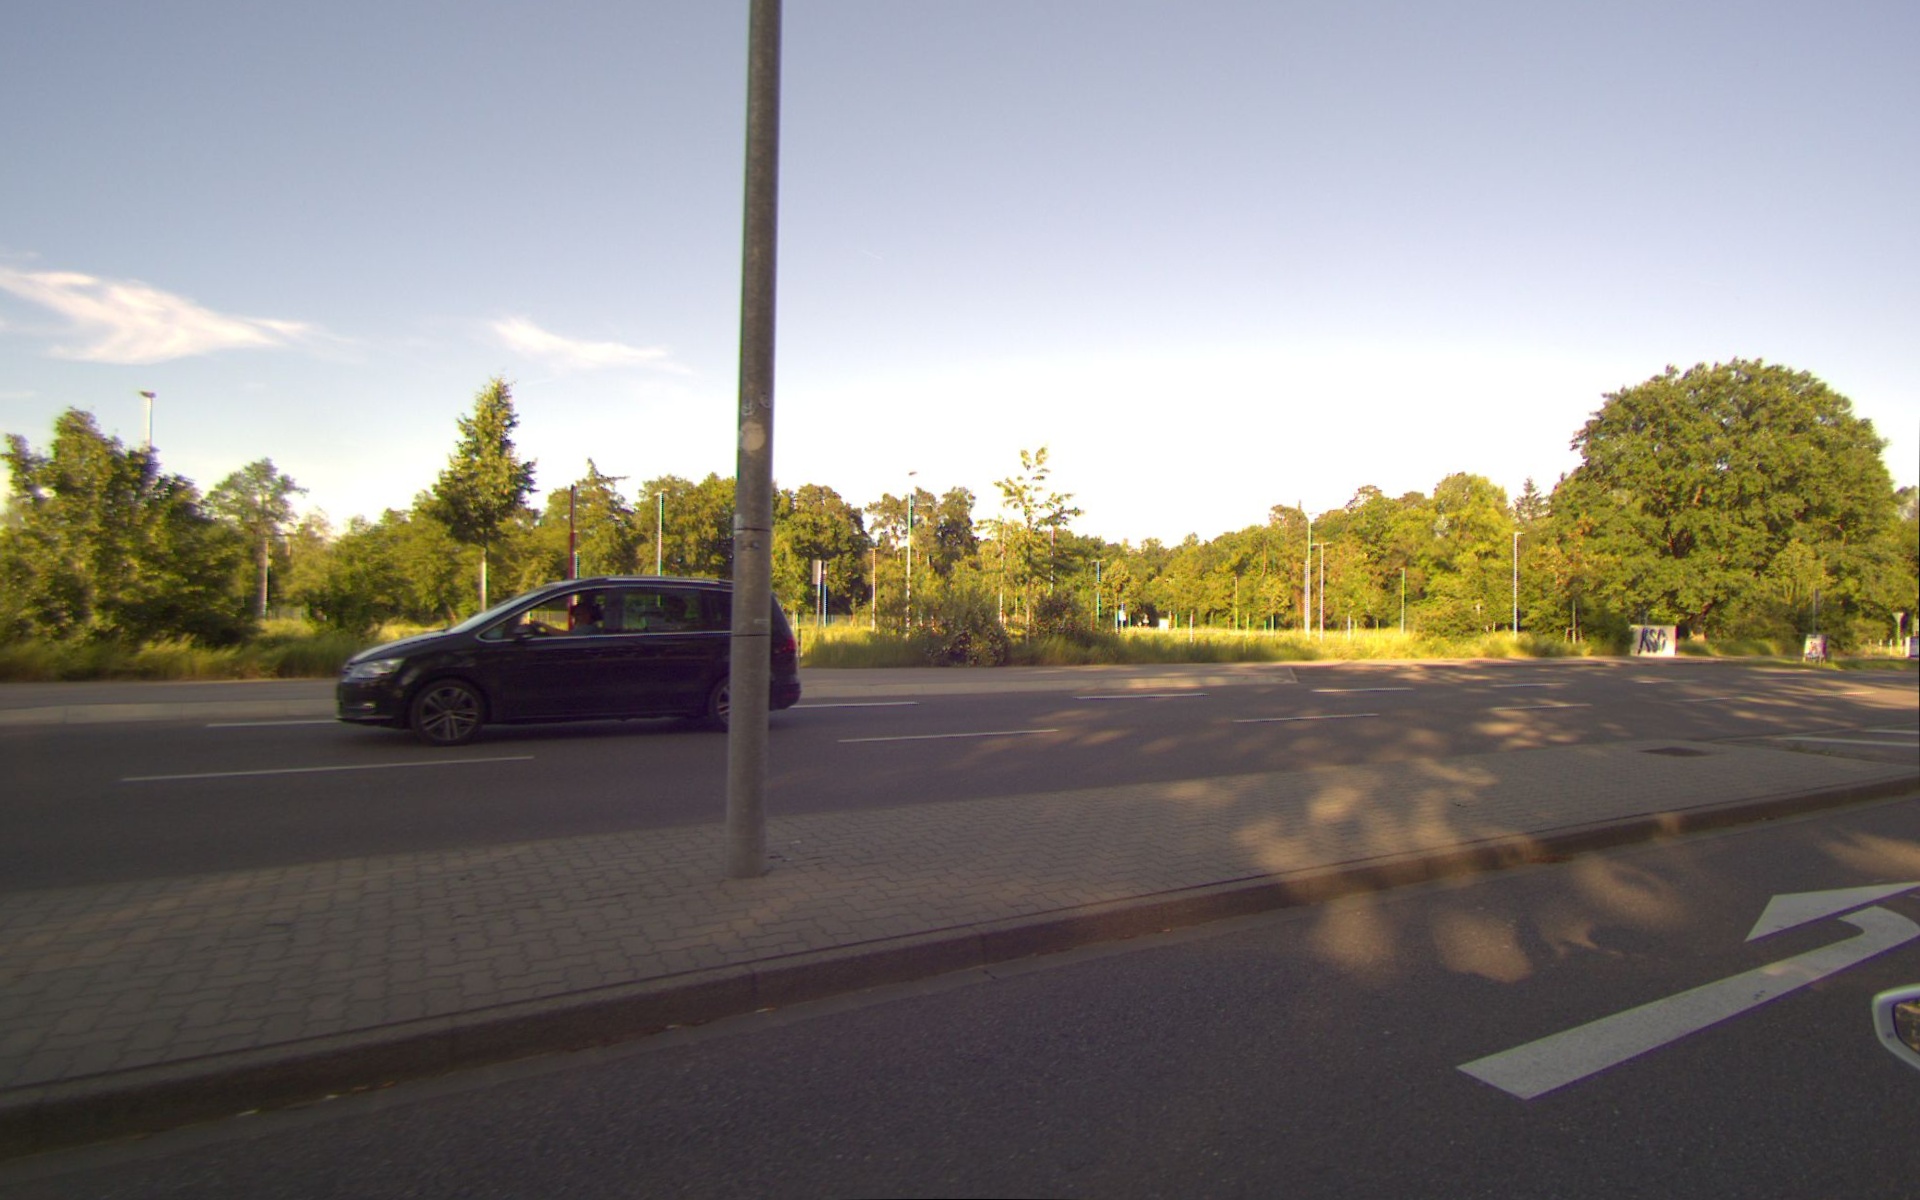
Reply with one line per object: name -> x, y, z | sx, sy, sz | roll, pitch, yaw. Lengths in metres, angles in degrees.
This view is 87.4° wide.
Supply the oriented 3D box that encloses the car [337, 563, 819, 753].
car -> -4.066, 0.539, 11.026 | 4.649, 1.714, 1.774 | 1, 1, -31
